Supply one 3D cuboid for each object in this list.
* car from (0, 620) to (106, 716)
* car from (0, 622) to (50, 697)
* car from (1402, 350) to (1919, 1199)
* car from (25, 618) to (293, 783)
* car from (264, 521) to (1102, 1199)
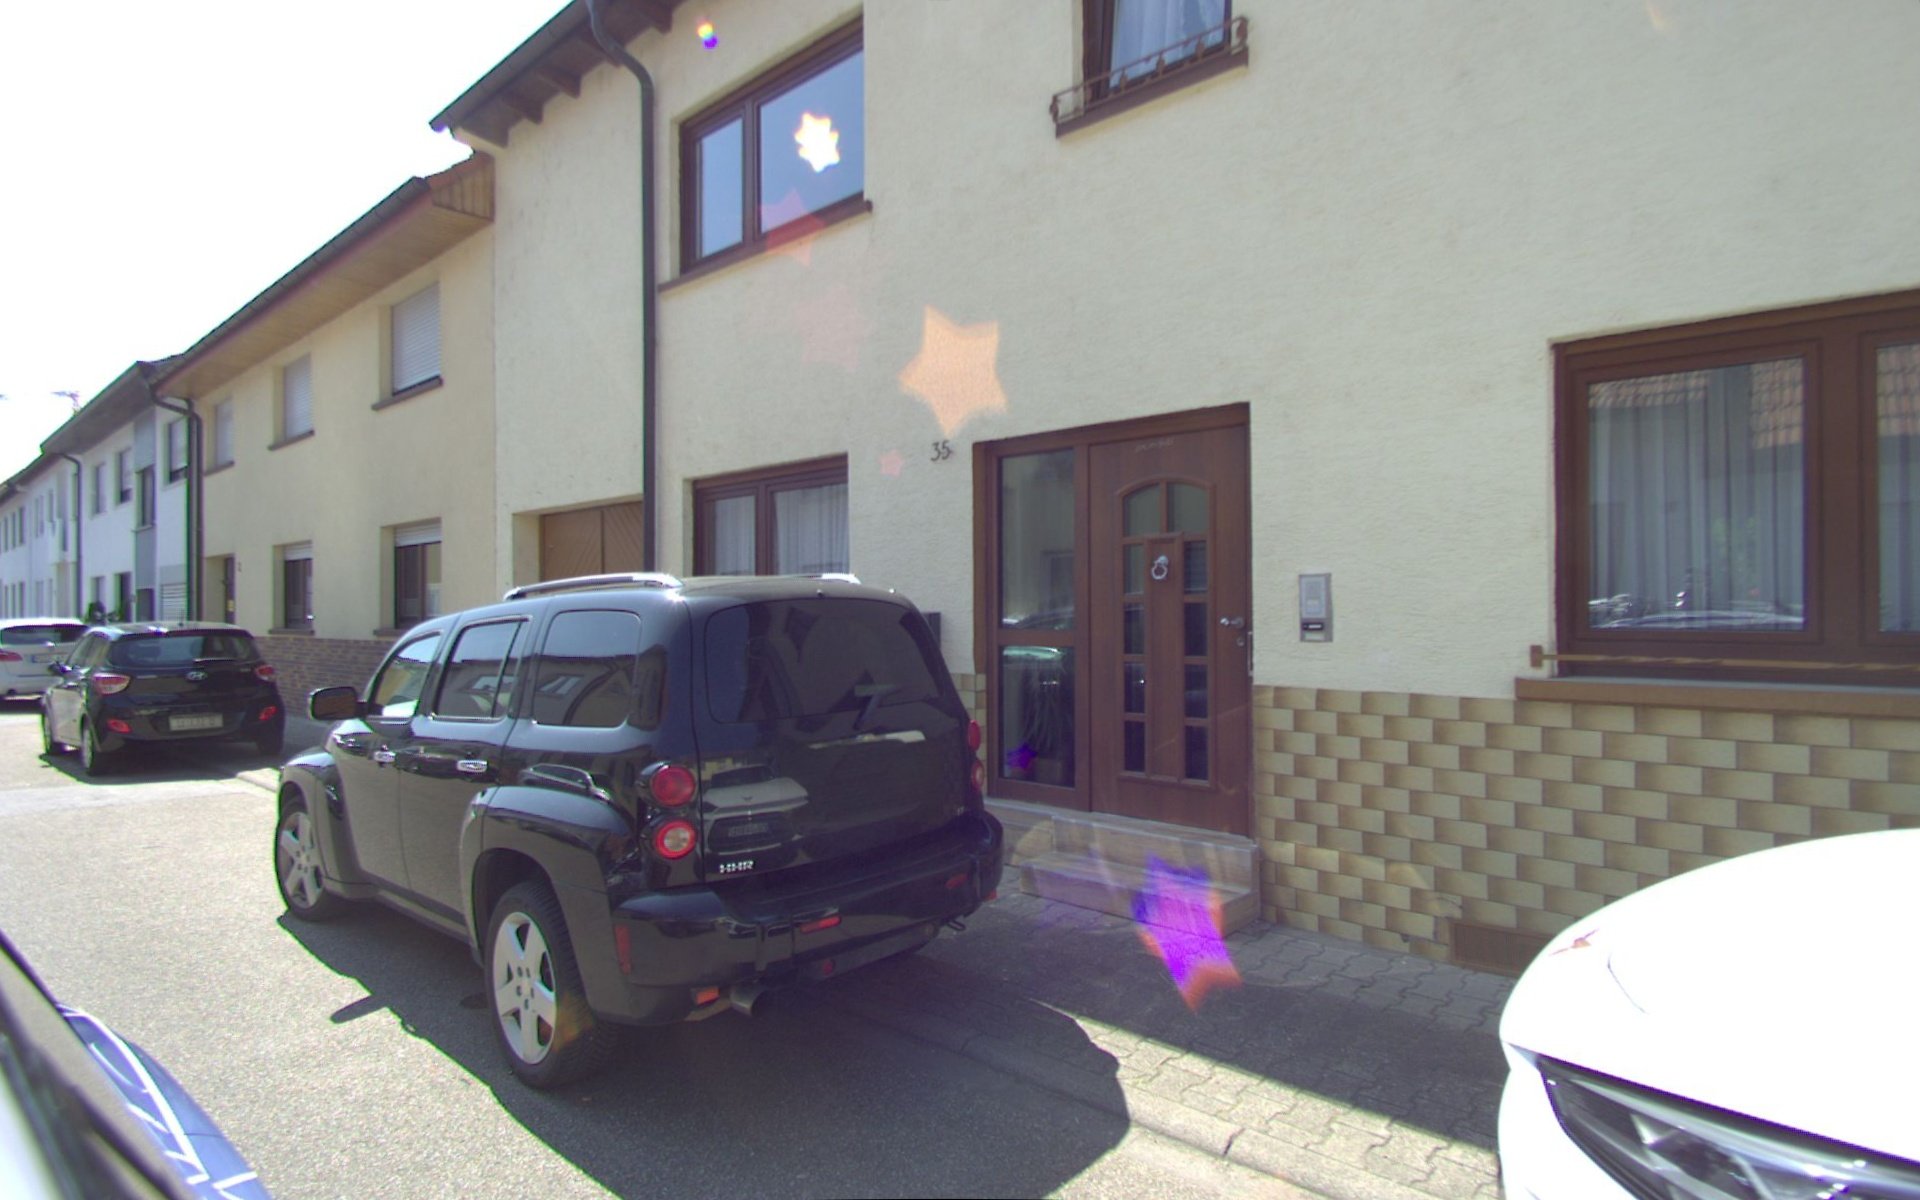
[{"bbox_3d":[-17.294,1.175,18.675,3.938,1.560,1.646,-1,0,39],"label":"car"},{"bbox_3d":[-21.551,1.283,22.333,3.684,1.553,1.646,-1,-1,39],"label":"car"},{"bbox_3d":[2.710,0.597,0.399,4.345,1.627,1.756,-1,-2,40],"label":"car"},{"bbox_3d":[-9.095,0.977,11.382,3.940,1.549,1.623,-1,-2,41],"label":"car"},{"bbox_3d":[-1.512,0.663,4.414,3.989,1.627,1.703,-1,-2,43],"label":"car"}]
